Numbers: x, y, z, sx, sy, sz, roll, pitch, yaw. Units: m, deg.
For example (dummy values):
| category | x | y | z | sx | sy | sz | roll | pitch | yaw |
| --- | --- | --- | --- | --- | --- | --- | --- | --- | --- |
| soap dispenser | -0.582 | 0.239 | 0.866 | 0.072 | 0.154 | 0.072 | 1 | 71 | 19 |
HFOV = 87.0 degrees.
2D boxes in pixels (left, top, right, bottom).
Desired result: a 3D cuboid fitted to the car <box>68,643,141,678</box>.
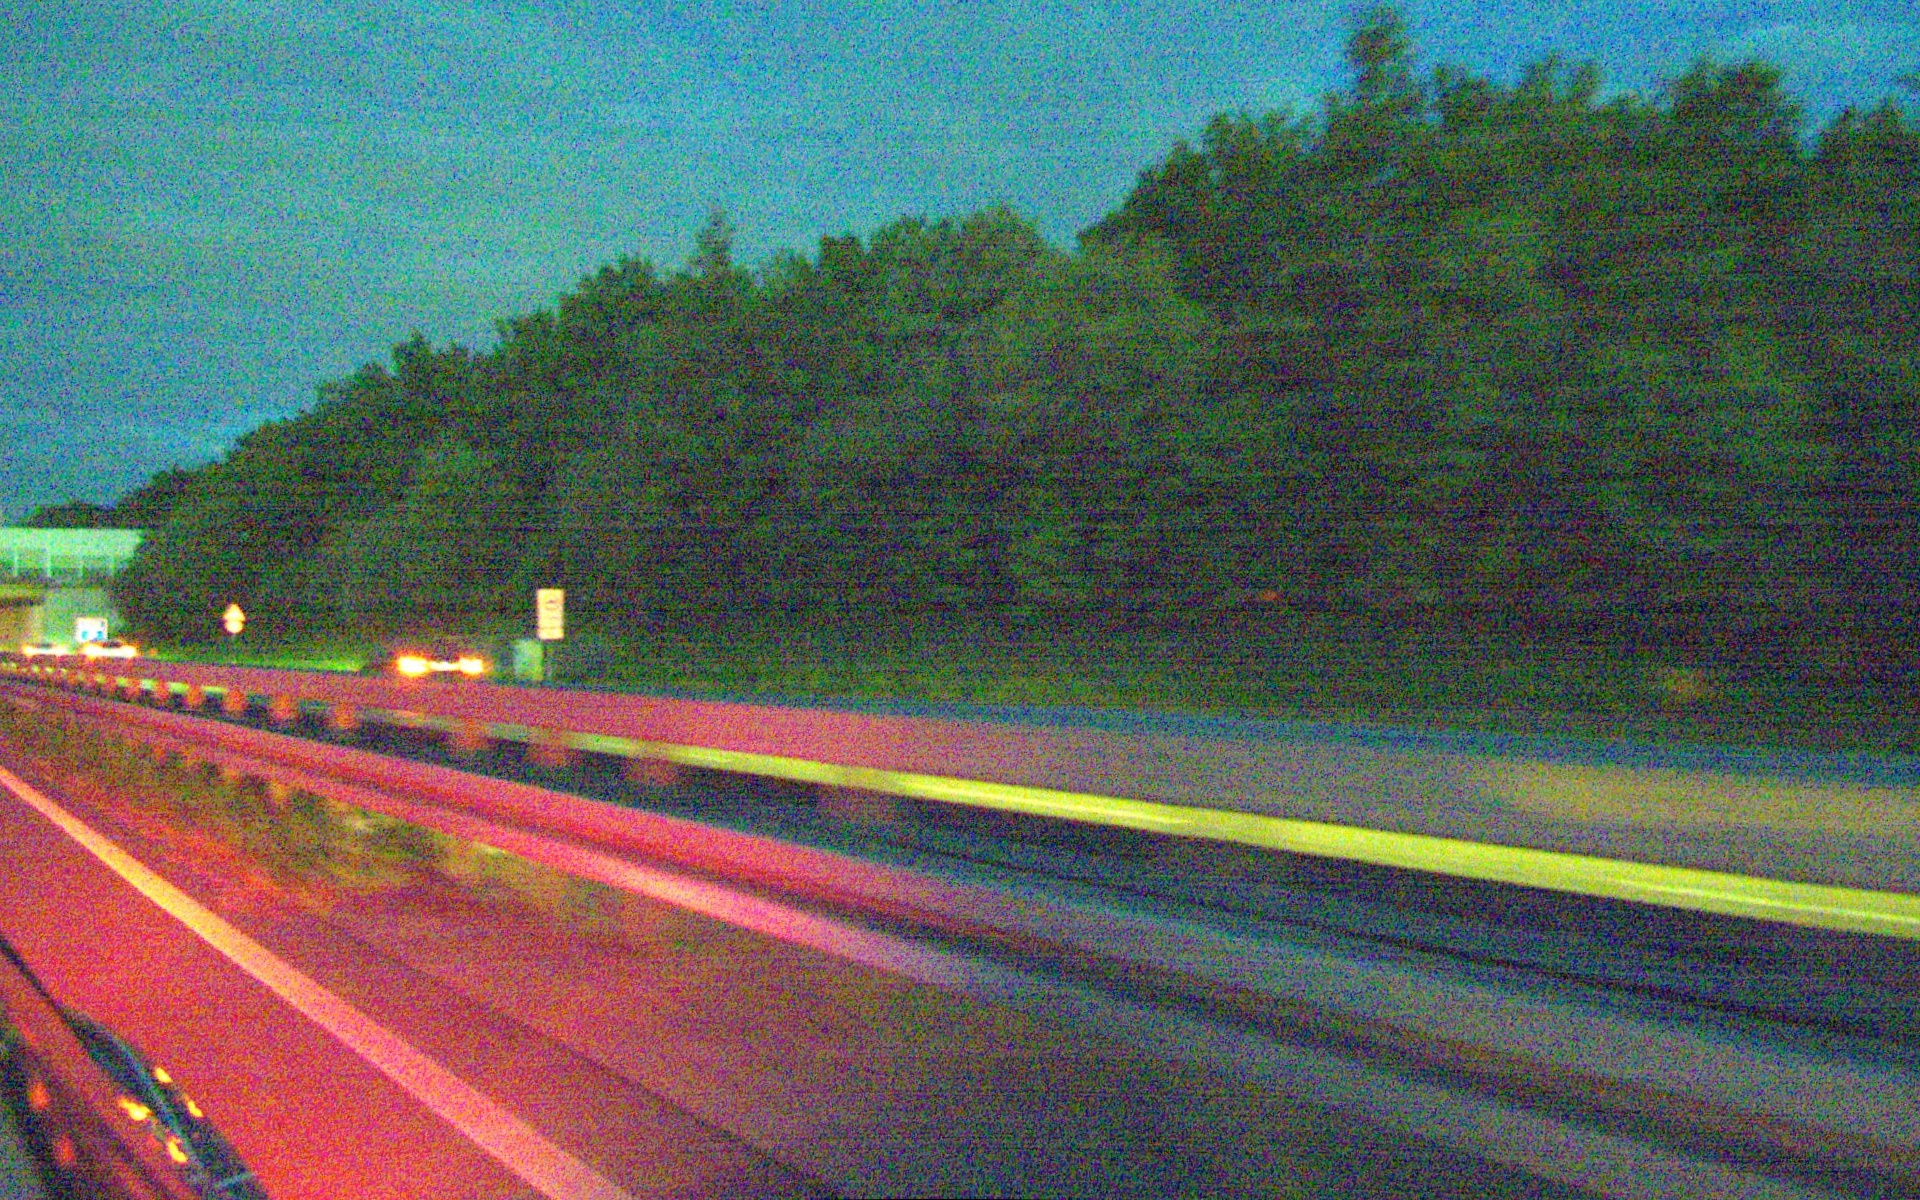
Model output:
| category | x | y | z | sx | sy | sz | roll | pitch | yaw |
| --- | --- | --- | --- | --- | --- | --- | --- | --- | --- |
| car | -43.523 | 3.041 | 51.465 | 4.695 | 1.643 | 2.100 | -2 | -3 | 40 |

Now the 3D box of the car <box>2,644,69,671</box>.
| category | x | y | z | sx | sy | sz | roll | pitch | yaw |
| --- | --- | --- | --- | --- | --- | --- | --- | --- | --- |
| car | -55.796 | 3.442 | 61.061 | 4.690 | 1.565 | 2.102 | -2 | -2 | 37 |

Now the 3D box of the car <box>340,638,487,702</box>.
| category | x | y | z | sx | sy | sz | roll | pitch | yaw |
| --- | --- | --- | --- | --- | --- | --- | --- | --- | --- |
| car | -14.215 | 1.764 | 26.199 | 4.698 | 1.498 | 1.932 | -2 | -4 | 43 |
